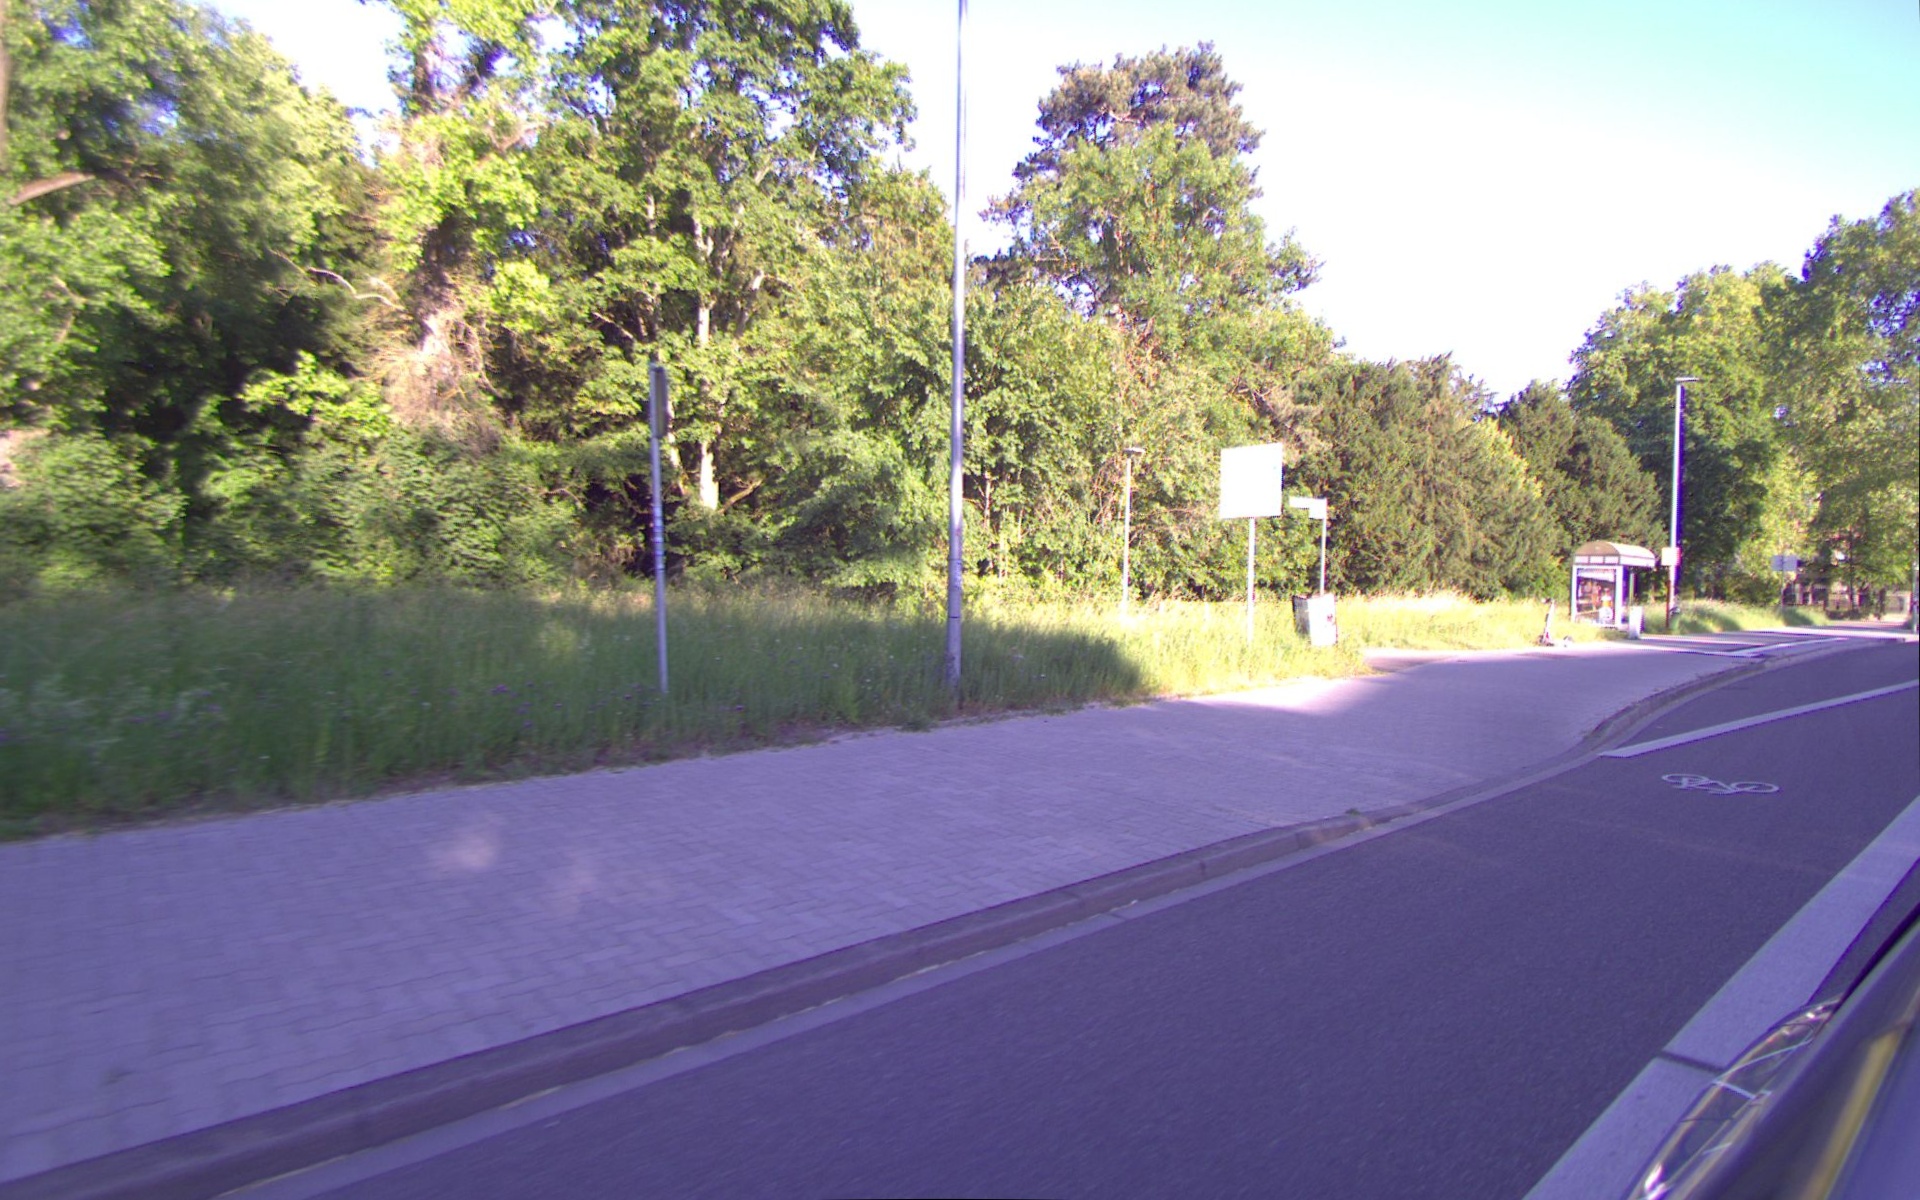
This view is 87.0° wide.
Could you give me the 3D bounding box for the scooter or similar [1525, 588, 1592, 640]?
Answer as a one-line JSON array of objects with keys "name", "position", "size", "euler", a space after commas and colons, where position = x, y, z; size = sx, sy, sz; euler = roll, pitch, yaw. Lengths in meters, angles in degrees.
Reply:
[{"name": "scooter or similar", "position": [14.931, 0.343, 25.263], "size": [1.300, 1.263, 0.726], "euler": [1, 1, -19]}]
